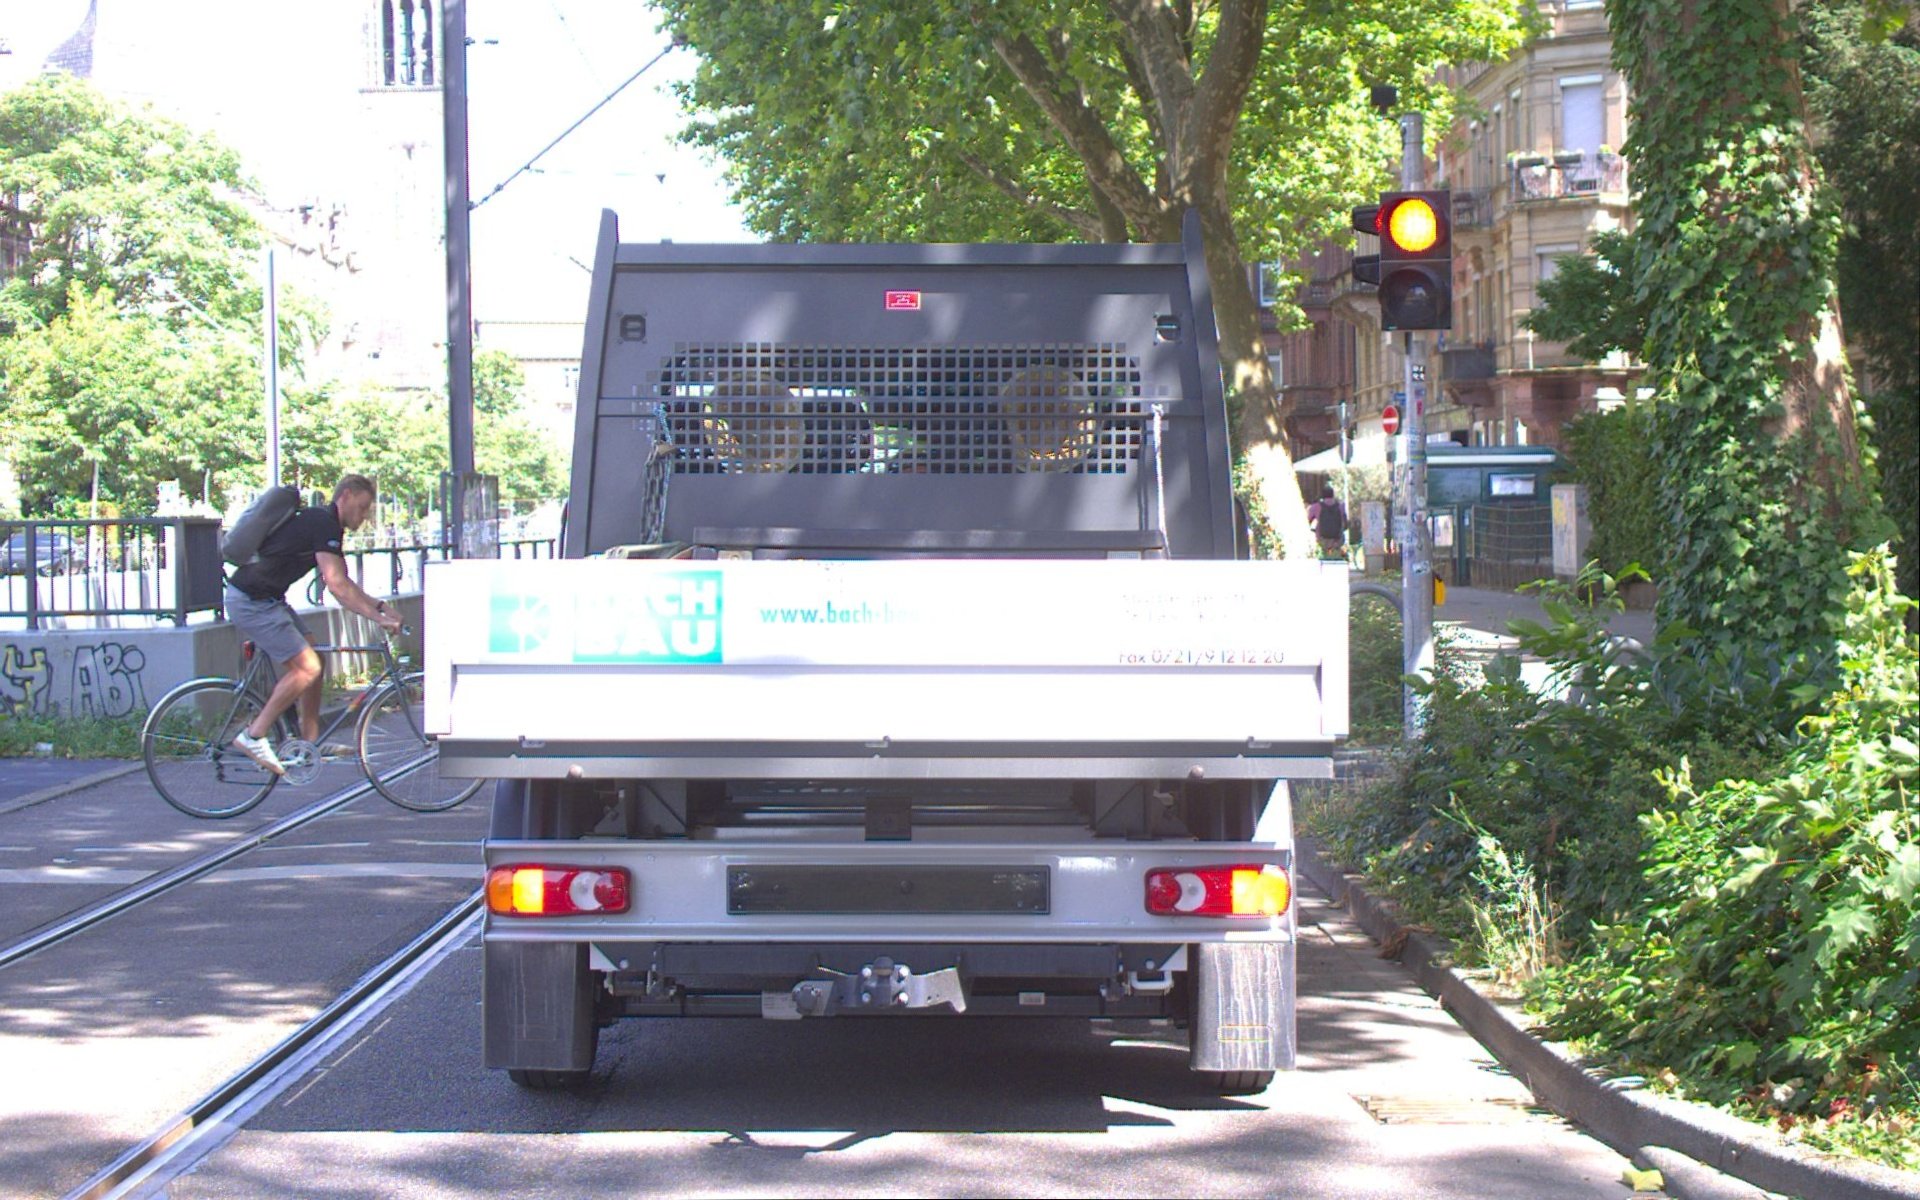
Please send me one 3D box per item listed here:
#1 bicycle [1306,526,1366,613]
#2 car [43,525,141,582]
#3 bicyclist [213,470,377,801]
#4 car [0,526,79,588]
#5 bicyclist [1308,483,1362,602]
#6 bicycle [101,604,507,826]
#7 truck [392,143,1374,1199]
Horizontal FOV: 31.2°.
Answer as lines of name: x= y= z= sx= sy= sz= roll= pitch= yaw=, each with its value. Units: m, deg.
bicycle: x=5.020 y=-0.421 z=45.991 sx=0.565 sy=1.108 sz=2.310 roll=-1 pitch=2 yaw=1
car: x=-23.807 y=-1.289 z=94.387 sx=1.770 sy=1.493 sz=4.001 roll=-1 pitch=1 yaw=-2
bicyclist: x=-3.313 y=0.167 z=17.176 sx=0.692 sy=1.617 sz=0.625 roll=-1 pitch=1 yaw=-2
car: x=-23.538 y=-1.098 z=86.552 sx=1.770 sy=1.493 sz=4.001 roll=-1 pitch=1 yaw=-2
bicyclist: x=5.002 y=-0.768 z=45.897 sx=0.638 sy=1.568 sz=0.579 roll=-1 pitch=1 yaw=1
bicycle: x=-3.258 y=0.564 z=17.186 sx=1.919 sy=1.045 sz=0.533 roll=-1 pitch=1 yaw=-3
truck: x=-0.166 y=0.106 z=9.826 sx=2.138 sy=2.311 sz=4.402 roll=1 pitch=1 yaw=0
